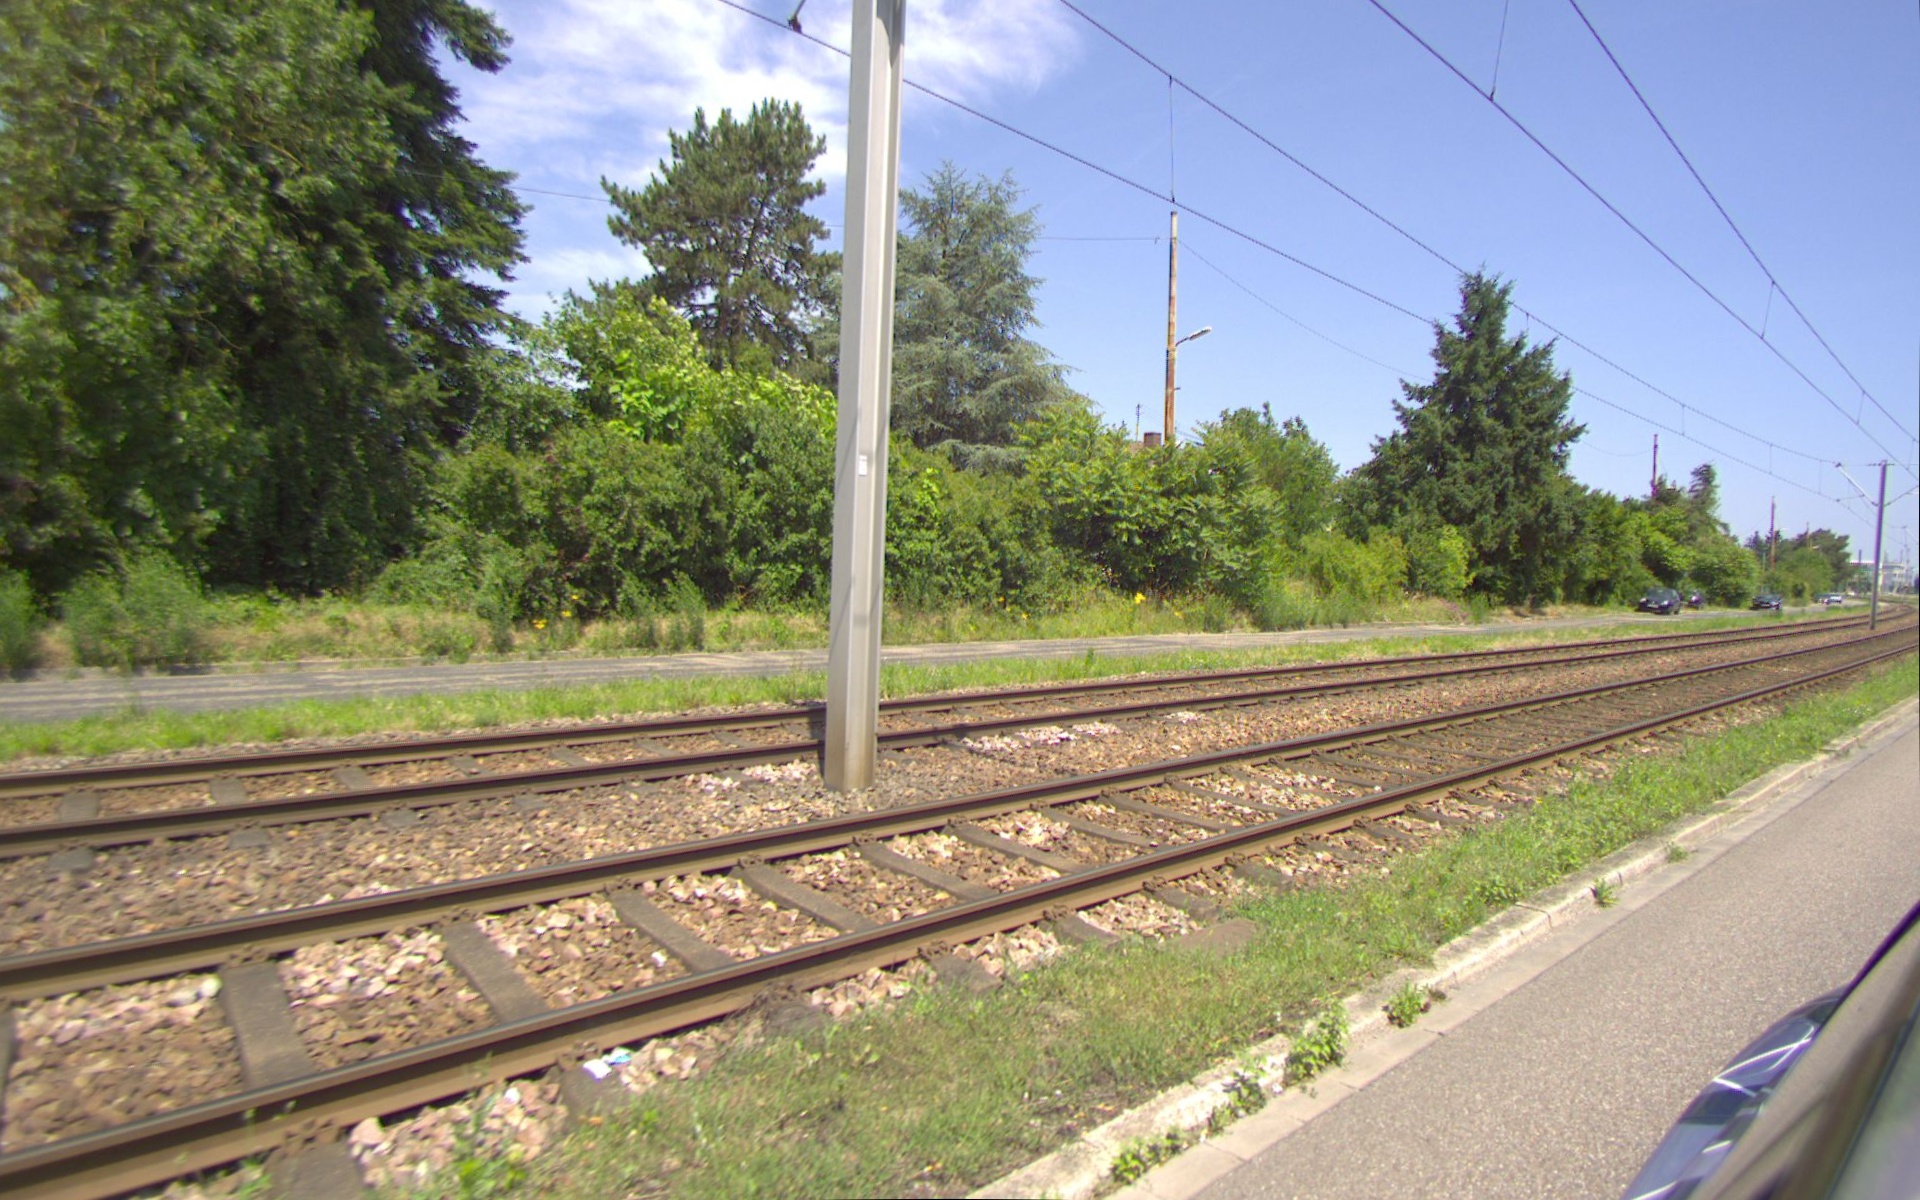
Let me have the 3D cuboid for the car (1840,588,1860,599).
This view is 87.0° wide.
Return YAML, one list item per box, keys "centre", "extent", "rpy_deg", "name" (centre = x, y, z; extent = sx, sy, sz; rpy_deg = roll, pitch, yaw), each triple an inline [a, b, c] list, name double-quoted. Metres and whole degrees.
- centre: [125.120, -0.978, 142.288]
  extent: [1.939, 1.439, 3.939]
  rpy_deg: [3, 2, 42]
  name: "car"

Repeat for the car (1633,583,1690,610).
- centre: [40.295, -0.221, 58.098]
  extent: [3.933, 1.488, 1.916]
  rpy_deg: [-1, 2, -43]
  name: "car"

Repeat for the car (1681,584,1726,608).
- centre: [51.852, -0.320, 70.529]
  extent: [1.935, 1.580, 4.484]
  rpy_deg: [3, 2, 44]
  name: "car"

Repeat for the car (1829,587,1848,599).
- centre: [112.199, -0.874, 129.296]
  extent: [1.620, 1.439, 4.797]
  rpy_deg: [3, 2, 43]
  name: "car"

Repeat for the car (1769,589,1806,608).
- centre: [64.646, -0.158, 79.047]
  extent: [1.862, 1.346, 4.443]
  rpy_deg: [3, 2, 44]
  name: "car"
